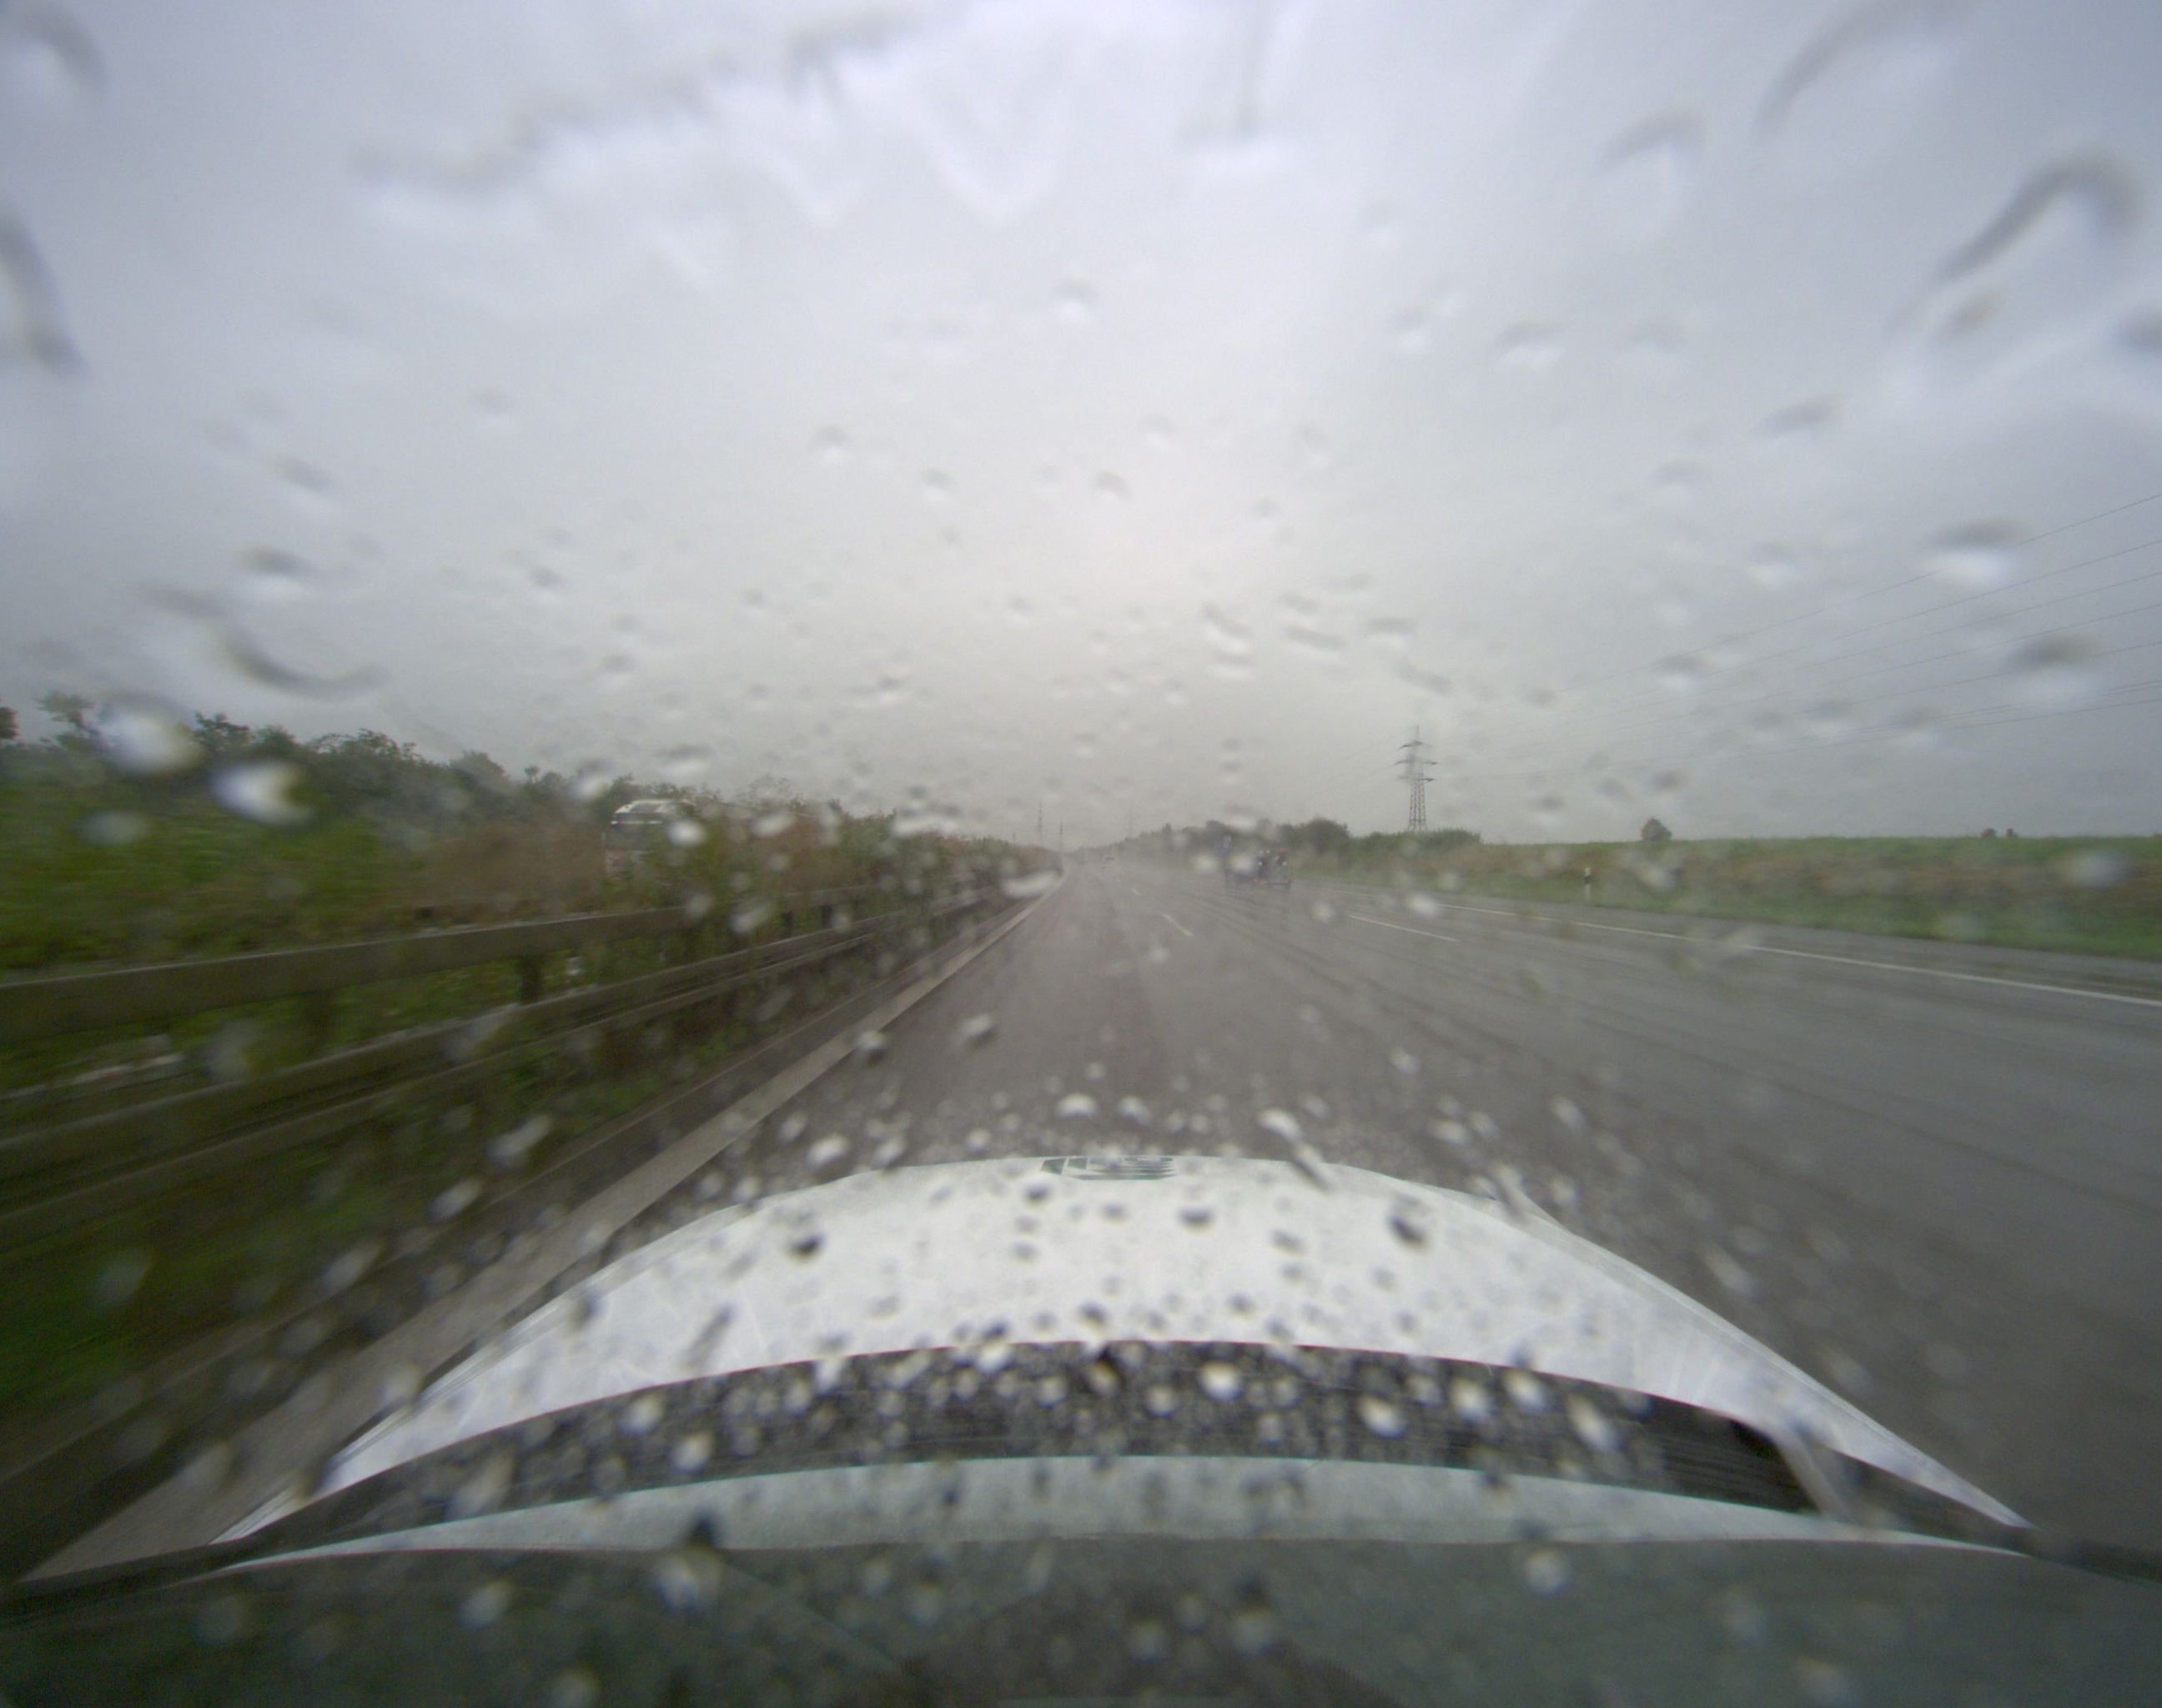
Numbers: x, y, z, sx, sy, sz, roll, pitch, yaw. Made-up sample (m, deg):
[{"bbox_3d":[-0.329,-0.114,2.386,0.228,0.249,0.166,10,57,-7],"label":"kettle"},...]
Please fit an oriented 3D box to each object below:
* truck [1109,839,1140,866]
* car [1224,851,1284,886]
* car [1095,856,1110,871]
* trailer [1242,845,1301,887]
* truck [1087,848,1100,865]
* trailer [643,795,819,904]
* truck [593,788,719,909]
[{"bbox_3d":[7.870,-0.154,149.258,4.179,4.630,16.088,-1,-1,-2],"label":"truck"},{"bbox_3d":[8.540,0.715,40.620,1.986,1.619,4.993,-1,-1,1],"label":"car"},{"bbox_3d":[2.921,1.275,111.682,1.987,2.014,4.000,-1,0,1],"label":"car"},{"bbox_3d":[8.491,0.549,36.556,1.972,1.785,3.189,-1,-1,1],"label":"trailer"},{"bbox_3d":[3.312,0.643,219.928,3.223,4.311,8.831,-1,0,-1],"label":"truck"},{"bbox_3d":[-15.773,-0.144,38.311,2.509,4.221,12.944,-1,0,1],"label":"trailer"},{"bbox_3d":[-15.880,-0.176,30.711,2.519,4.227,4.077,-1,-1,0],"label":"truck"}]
